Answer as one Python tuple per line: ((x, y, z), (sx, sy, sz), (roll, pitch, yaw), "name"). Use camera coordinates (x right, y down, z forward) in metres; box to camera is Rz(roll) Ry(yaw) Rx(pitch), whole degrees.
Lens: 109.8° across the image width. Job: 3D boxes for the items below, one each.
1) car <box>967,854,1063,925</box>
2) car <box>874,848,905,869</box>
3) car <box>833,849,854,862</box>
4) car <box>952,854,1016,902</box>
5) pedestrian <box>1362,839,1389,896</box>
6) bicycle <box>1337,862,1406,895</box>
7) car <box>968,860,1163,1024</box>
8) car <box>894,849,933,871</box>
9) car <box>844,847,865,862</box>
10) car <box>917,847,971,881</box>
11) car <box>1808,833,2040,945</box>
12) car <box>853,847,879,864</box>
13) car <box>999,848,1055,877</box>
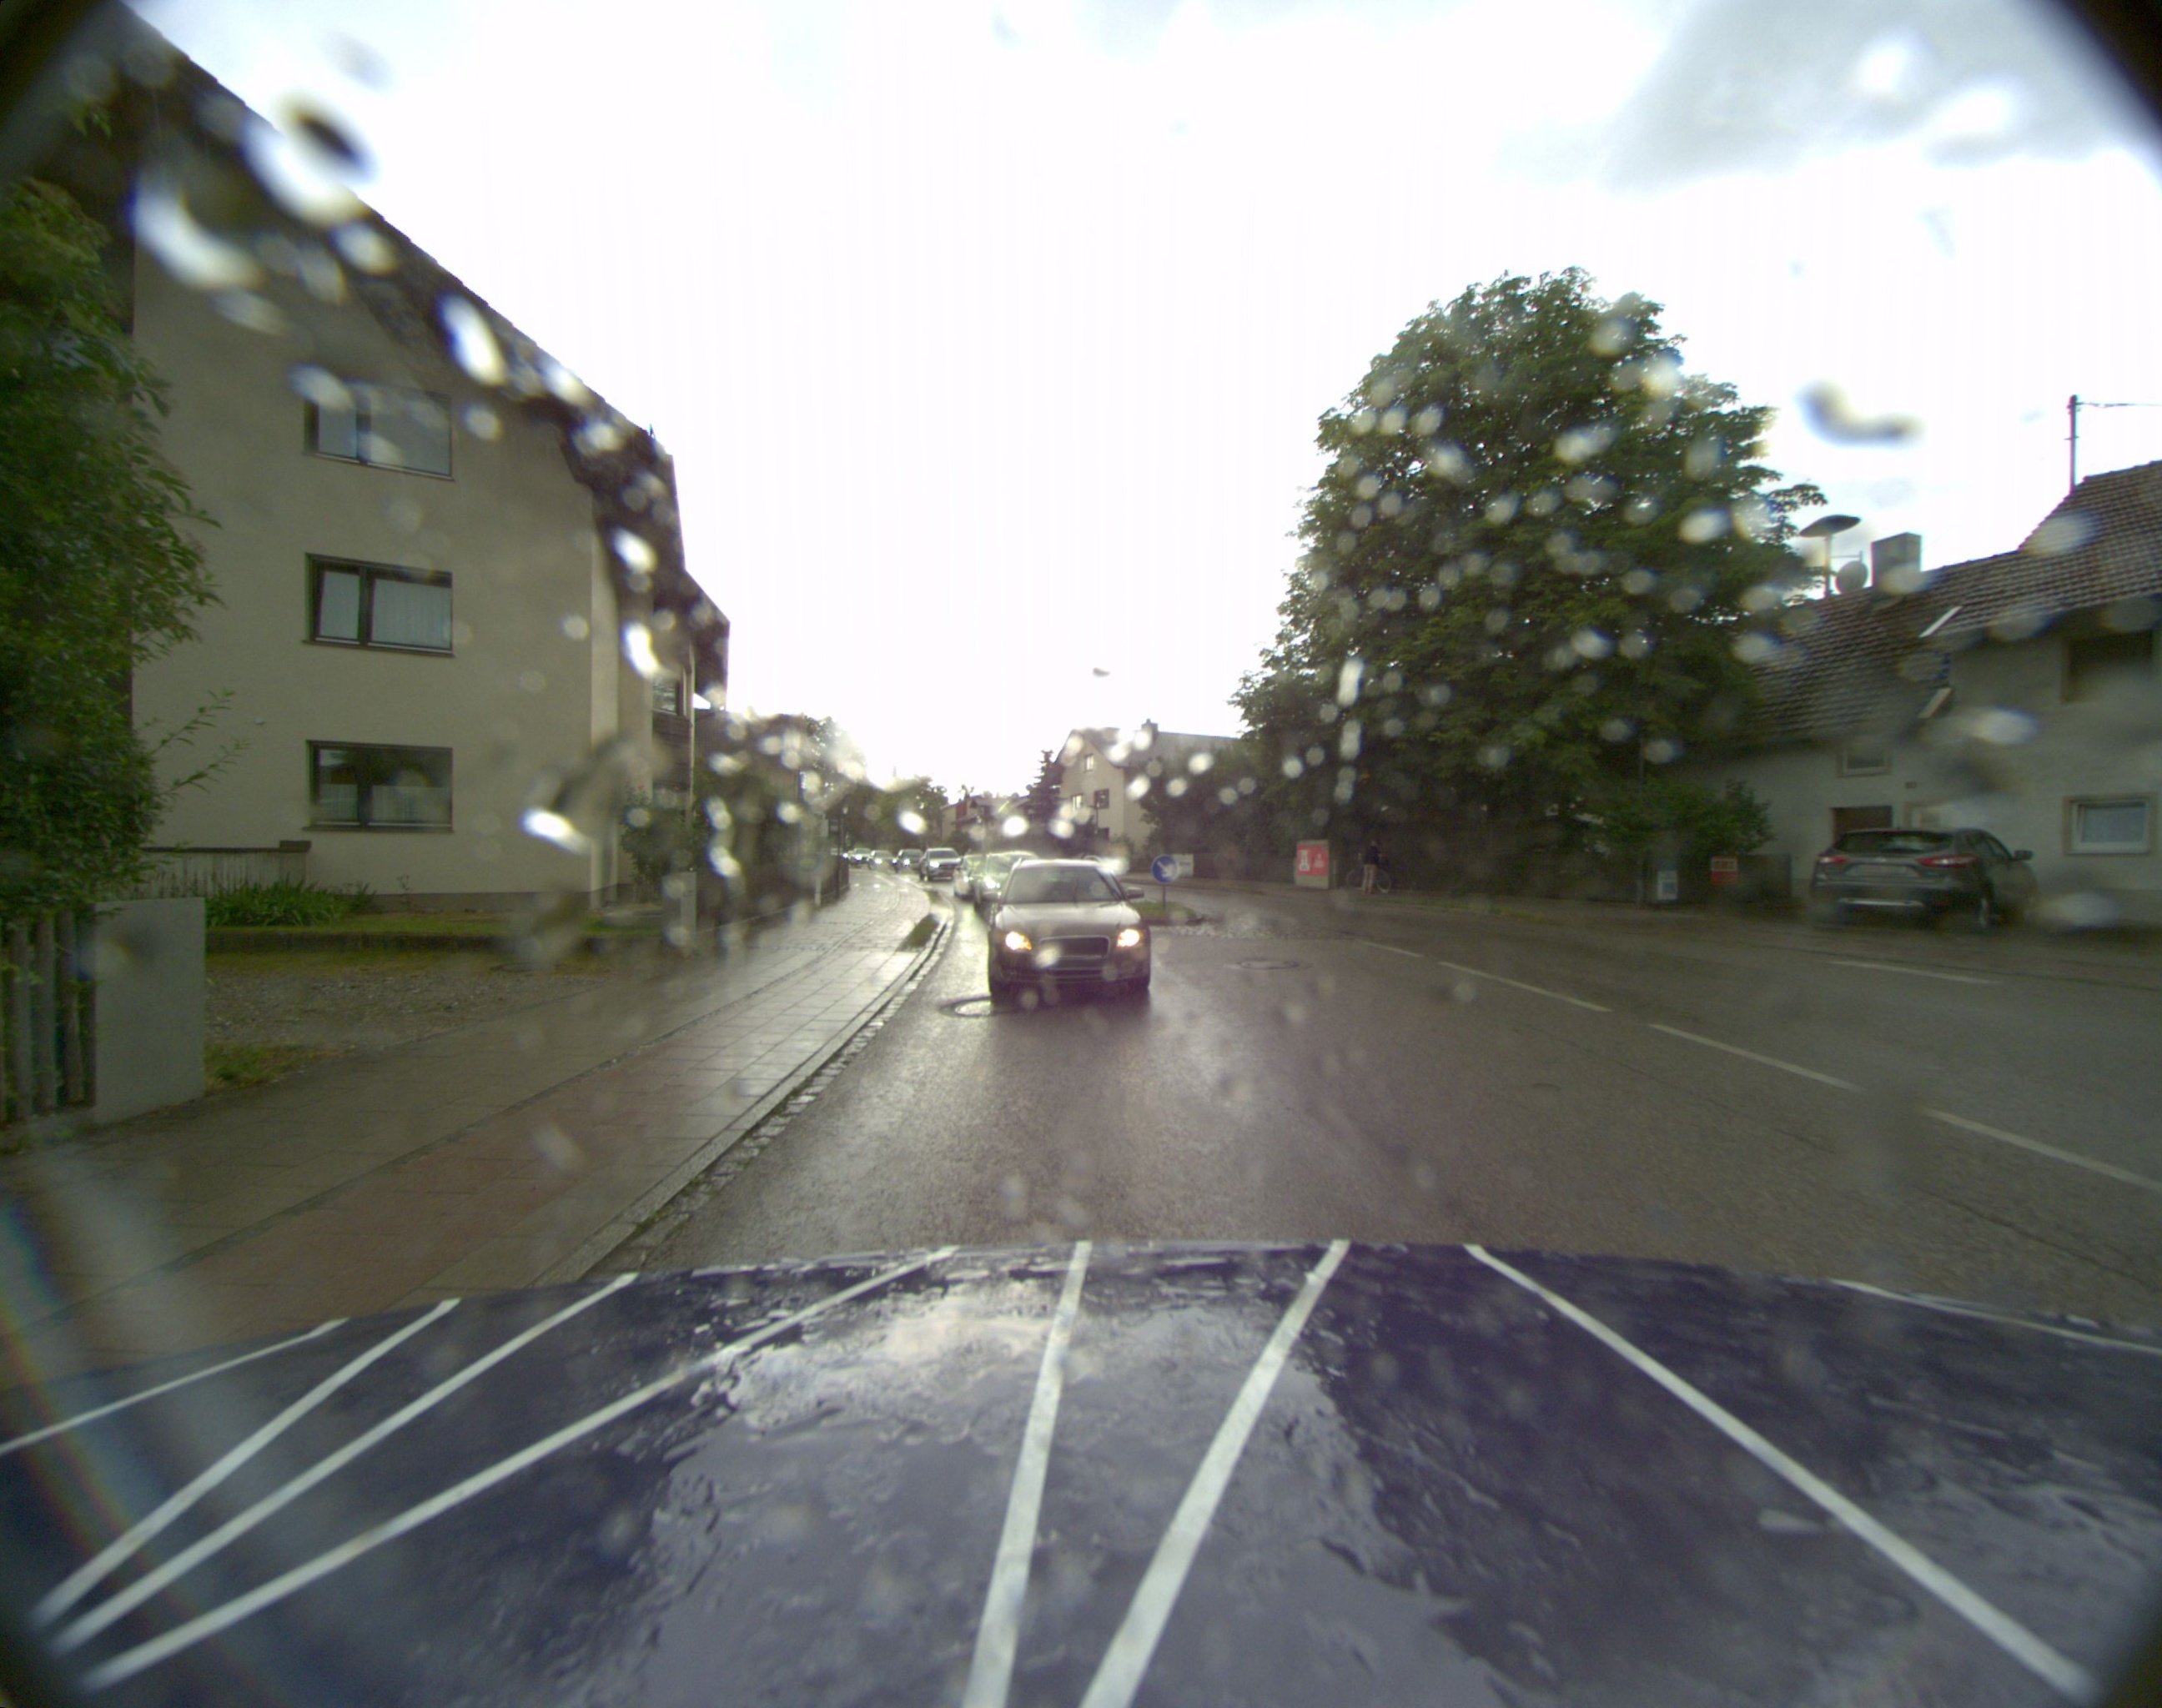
((-1.843, 0.776, 19.459), (1.795, 1.470, 5.379), (-2, 1, -11), "car")
((-15.654, 0.350, 62.032), (1.797, 1.539, 4.273), (-3, 1, -23), "car")
((-30.232, 0.172, 96.660), (1.797, 1.539, 4.272), (-3, 1, -26), "car")
((-3.370, 0.734, 25.838), (1.795, 1.387, 4.276), (-2, 1, -11), "car")
((8.465, 0.378, 21.823), (0.652, 1.619, 0.480), (0, 1, 27), "pedestrian")
((8.662, 0.712, 22.729), (0.665, 0.897, 1.869), (-2, 1, -34), "bicycle")
((-0.318, 0.845, 9.308), (1.794, 1.387, 4.278), (-2, 1, -5), "car")
((-11.528, 0.403, 52.109), (1.797, 1.365, 4.273), (-3, 1, -23), "car")
((-25.291, 0.078, 84.811), (1.797, 1.539, 4.273), (-3, 1, -23), "car")
((-7.069, 0.487, 38.832), (1.797, 1.539, 4.273), (-3, 1, -23), "car")
((13.752, 0.501, 12.341), (4.289, 1.539, 1.813), (1, 0, -32), "car")
((-20.711, 0.119, 73.049), (1.797, 1.539, 4.273), (-3, 1, -23), "car")
((-3.000, 0.438, 41.465), (1.820, 1.482, 4.051), (-1, 1, -22), "car")
